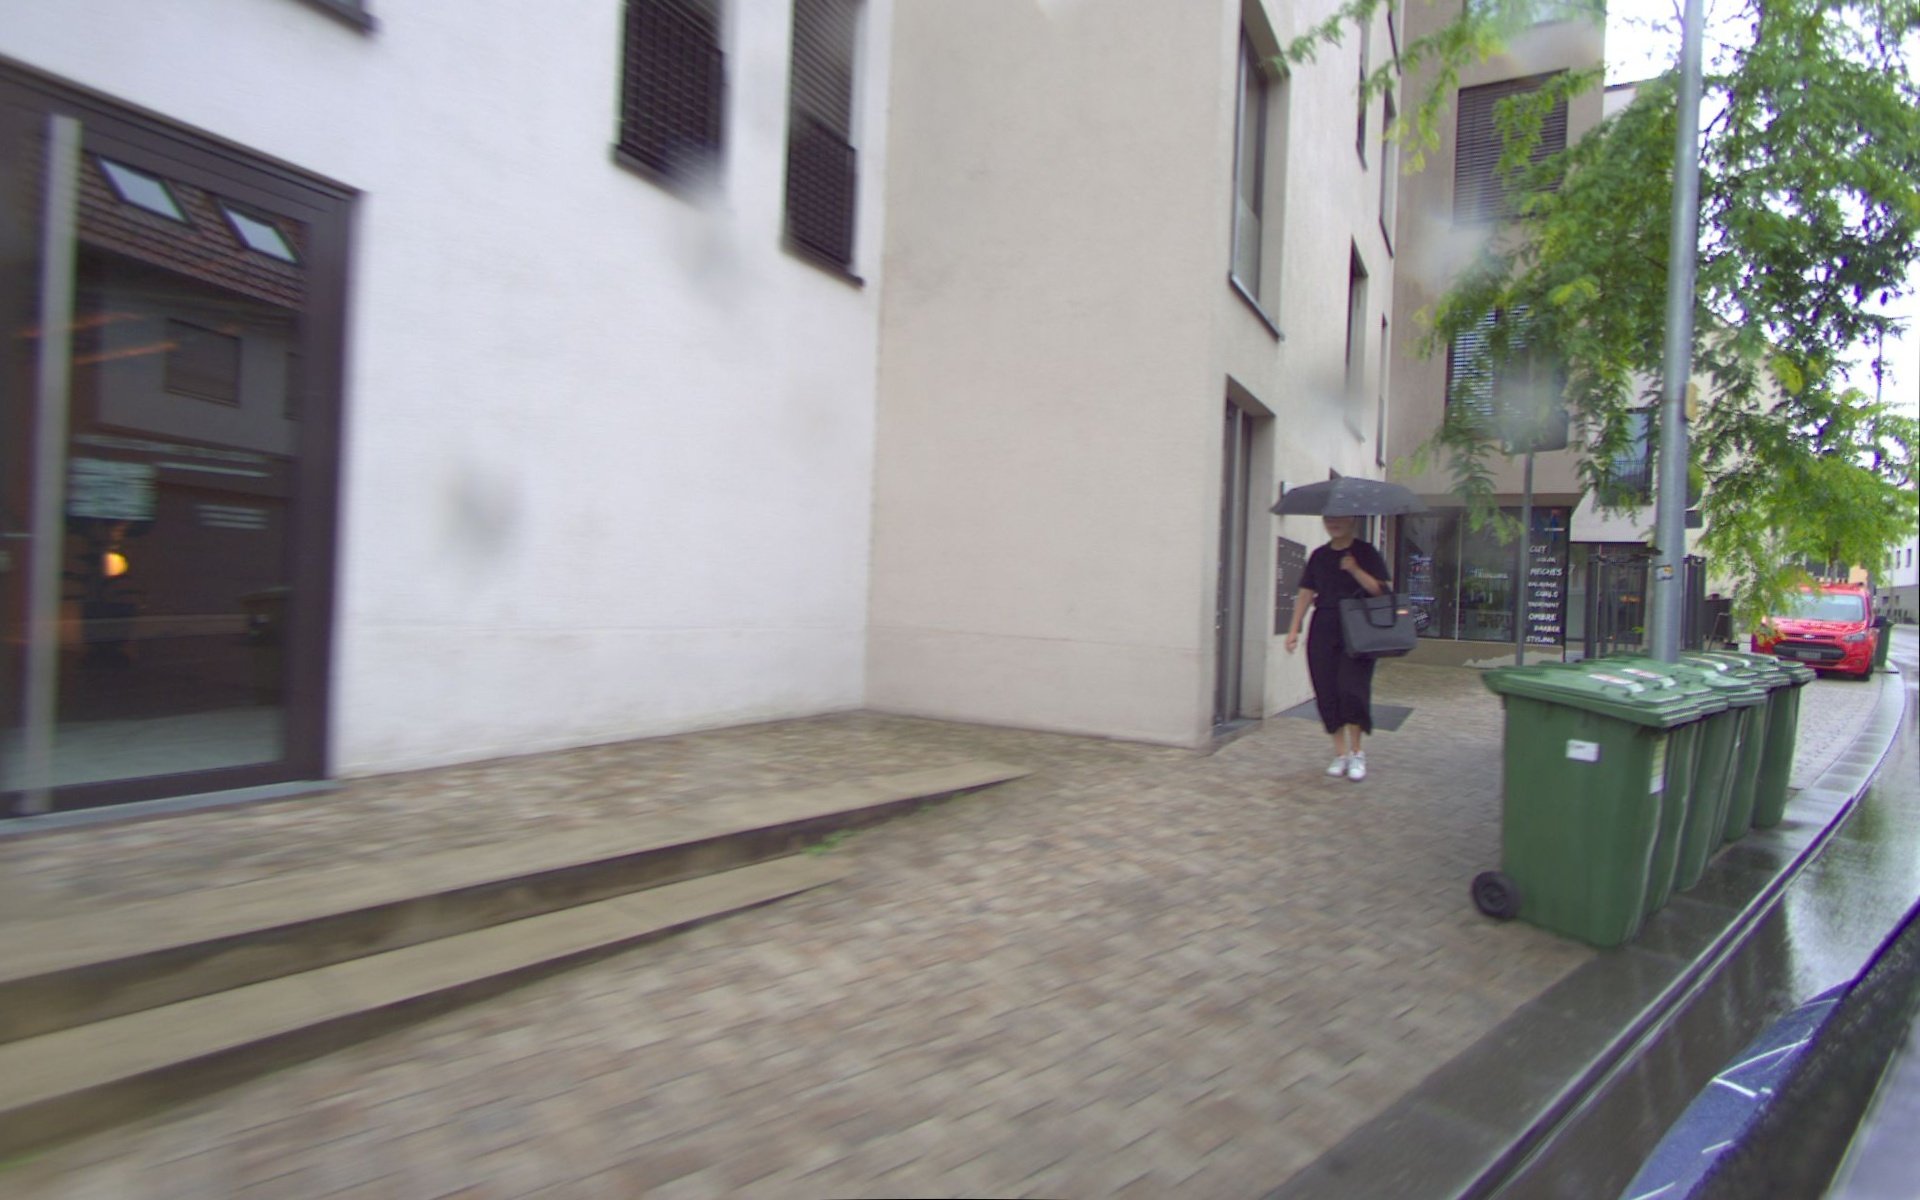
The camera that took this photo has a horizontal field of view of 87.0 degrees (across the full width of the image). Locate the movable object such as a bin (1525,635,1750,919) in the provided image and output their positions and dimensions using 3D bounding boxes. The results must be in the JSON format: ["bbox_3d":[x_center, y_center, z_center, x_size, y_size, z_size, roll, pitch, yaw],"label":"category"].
[{"bbox_3d":[3.118,0.752,4.673,0.566,1.132,0.725,1,1,-41],"label":"movable object such as a bin"}]

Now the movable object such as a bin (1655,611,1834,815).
[{"bbox_3d":[5.125,0.693,6.626,0.619,1.185,0.754,0,3,-38],"label":"movable object such as a bin"}]

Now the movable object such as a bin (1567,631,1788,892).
[{"bbox_3d":[3.579,0.745,5.062,0.613,1.132,0.763,1,1,-41],"label":"movable object such as a bin"}]

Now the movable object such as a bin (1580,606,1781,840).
[{"bbox_3d":[4.120,0.652,5.801,0.619,1.185,0.754,0,3,-38],"label":"movable object such as a bin"}]

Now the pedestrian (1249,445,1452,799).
[{"bbox_3d":[2.522,0.113,6.516,0.867,2.039,1.066,1,1,43],"label":"pedestrian"}]

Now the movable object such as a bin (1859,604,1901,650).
[{"bbox_3d":[23.395,0.669,25.746,0.708,1.101,0.592,3,2,40],"label":"movable object such as a bin"}]

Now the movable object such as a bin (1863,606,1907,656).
[{"bbox_3d":[21.339,0.709,23.356,0.709,1.101,0.592,4,2,43],"label":"movable object such as a bin"}]

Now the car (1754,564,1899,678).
[{"bbox_3d":[17.261,0.308,20.075,1.837,1.929,4.531,5,4,44],"label":"car"}]

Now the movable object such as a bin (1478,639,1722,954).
[{"bbox_3d":[2.696,0.760,4.280,0.566,1.132,0.725,1,1,-41],"label":"movable object such as a bin"}]

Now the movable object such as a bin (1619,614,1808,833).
[{"bbox_3d":[4.616,0.709,6.214,0.619,1.185,0.754,0,3,-38],"label":"movable object such as a bin"}]

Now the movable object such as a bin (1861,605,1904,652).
[{"bbox_3d":[22.643,0.683,24.857,0.702,1.101,0.508,3,2,40],"label":"movable object such as a bin"}]

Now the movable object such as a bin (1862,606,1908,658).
[{"bbox_3d":[20.933,0.715,22.907,0.709,1.101,0.592,4,2,43],"label":"movable object such as a bin"}]
